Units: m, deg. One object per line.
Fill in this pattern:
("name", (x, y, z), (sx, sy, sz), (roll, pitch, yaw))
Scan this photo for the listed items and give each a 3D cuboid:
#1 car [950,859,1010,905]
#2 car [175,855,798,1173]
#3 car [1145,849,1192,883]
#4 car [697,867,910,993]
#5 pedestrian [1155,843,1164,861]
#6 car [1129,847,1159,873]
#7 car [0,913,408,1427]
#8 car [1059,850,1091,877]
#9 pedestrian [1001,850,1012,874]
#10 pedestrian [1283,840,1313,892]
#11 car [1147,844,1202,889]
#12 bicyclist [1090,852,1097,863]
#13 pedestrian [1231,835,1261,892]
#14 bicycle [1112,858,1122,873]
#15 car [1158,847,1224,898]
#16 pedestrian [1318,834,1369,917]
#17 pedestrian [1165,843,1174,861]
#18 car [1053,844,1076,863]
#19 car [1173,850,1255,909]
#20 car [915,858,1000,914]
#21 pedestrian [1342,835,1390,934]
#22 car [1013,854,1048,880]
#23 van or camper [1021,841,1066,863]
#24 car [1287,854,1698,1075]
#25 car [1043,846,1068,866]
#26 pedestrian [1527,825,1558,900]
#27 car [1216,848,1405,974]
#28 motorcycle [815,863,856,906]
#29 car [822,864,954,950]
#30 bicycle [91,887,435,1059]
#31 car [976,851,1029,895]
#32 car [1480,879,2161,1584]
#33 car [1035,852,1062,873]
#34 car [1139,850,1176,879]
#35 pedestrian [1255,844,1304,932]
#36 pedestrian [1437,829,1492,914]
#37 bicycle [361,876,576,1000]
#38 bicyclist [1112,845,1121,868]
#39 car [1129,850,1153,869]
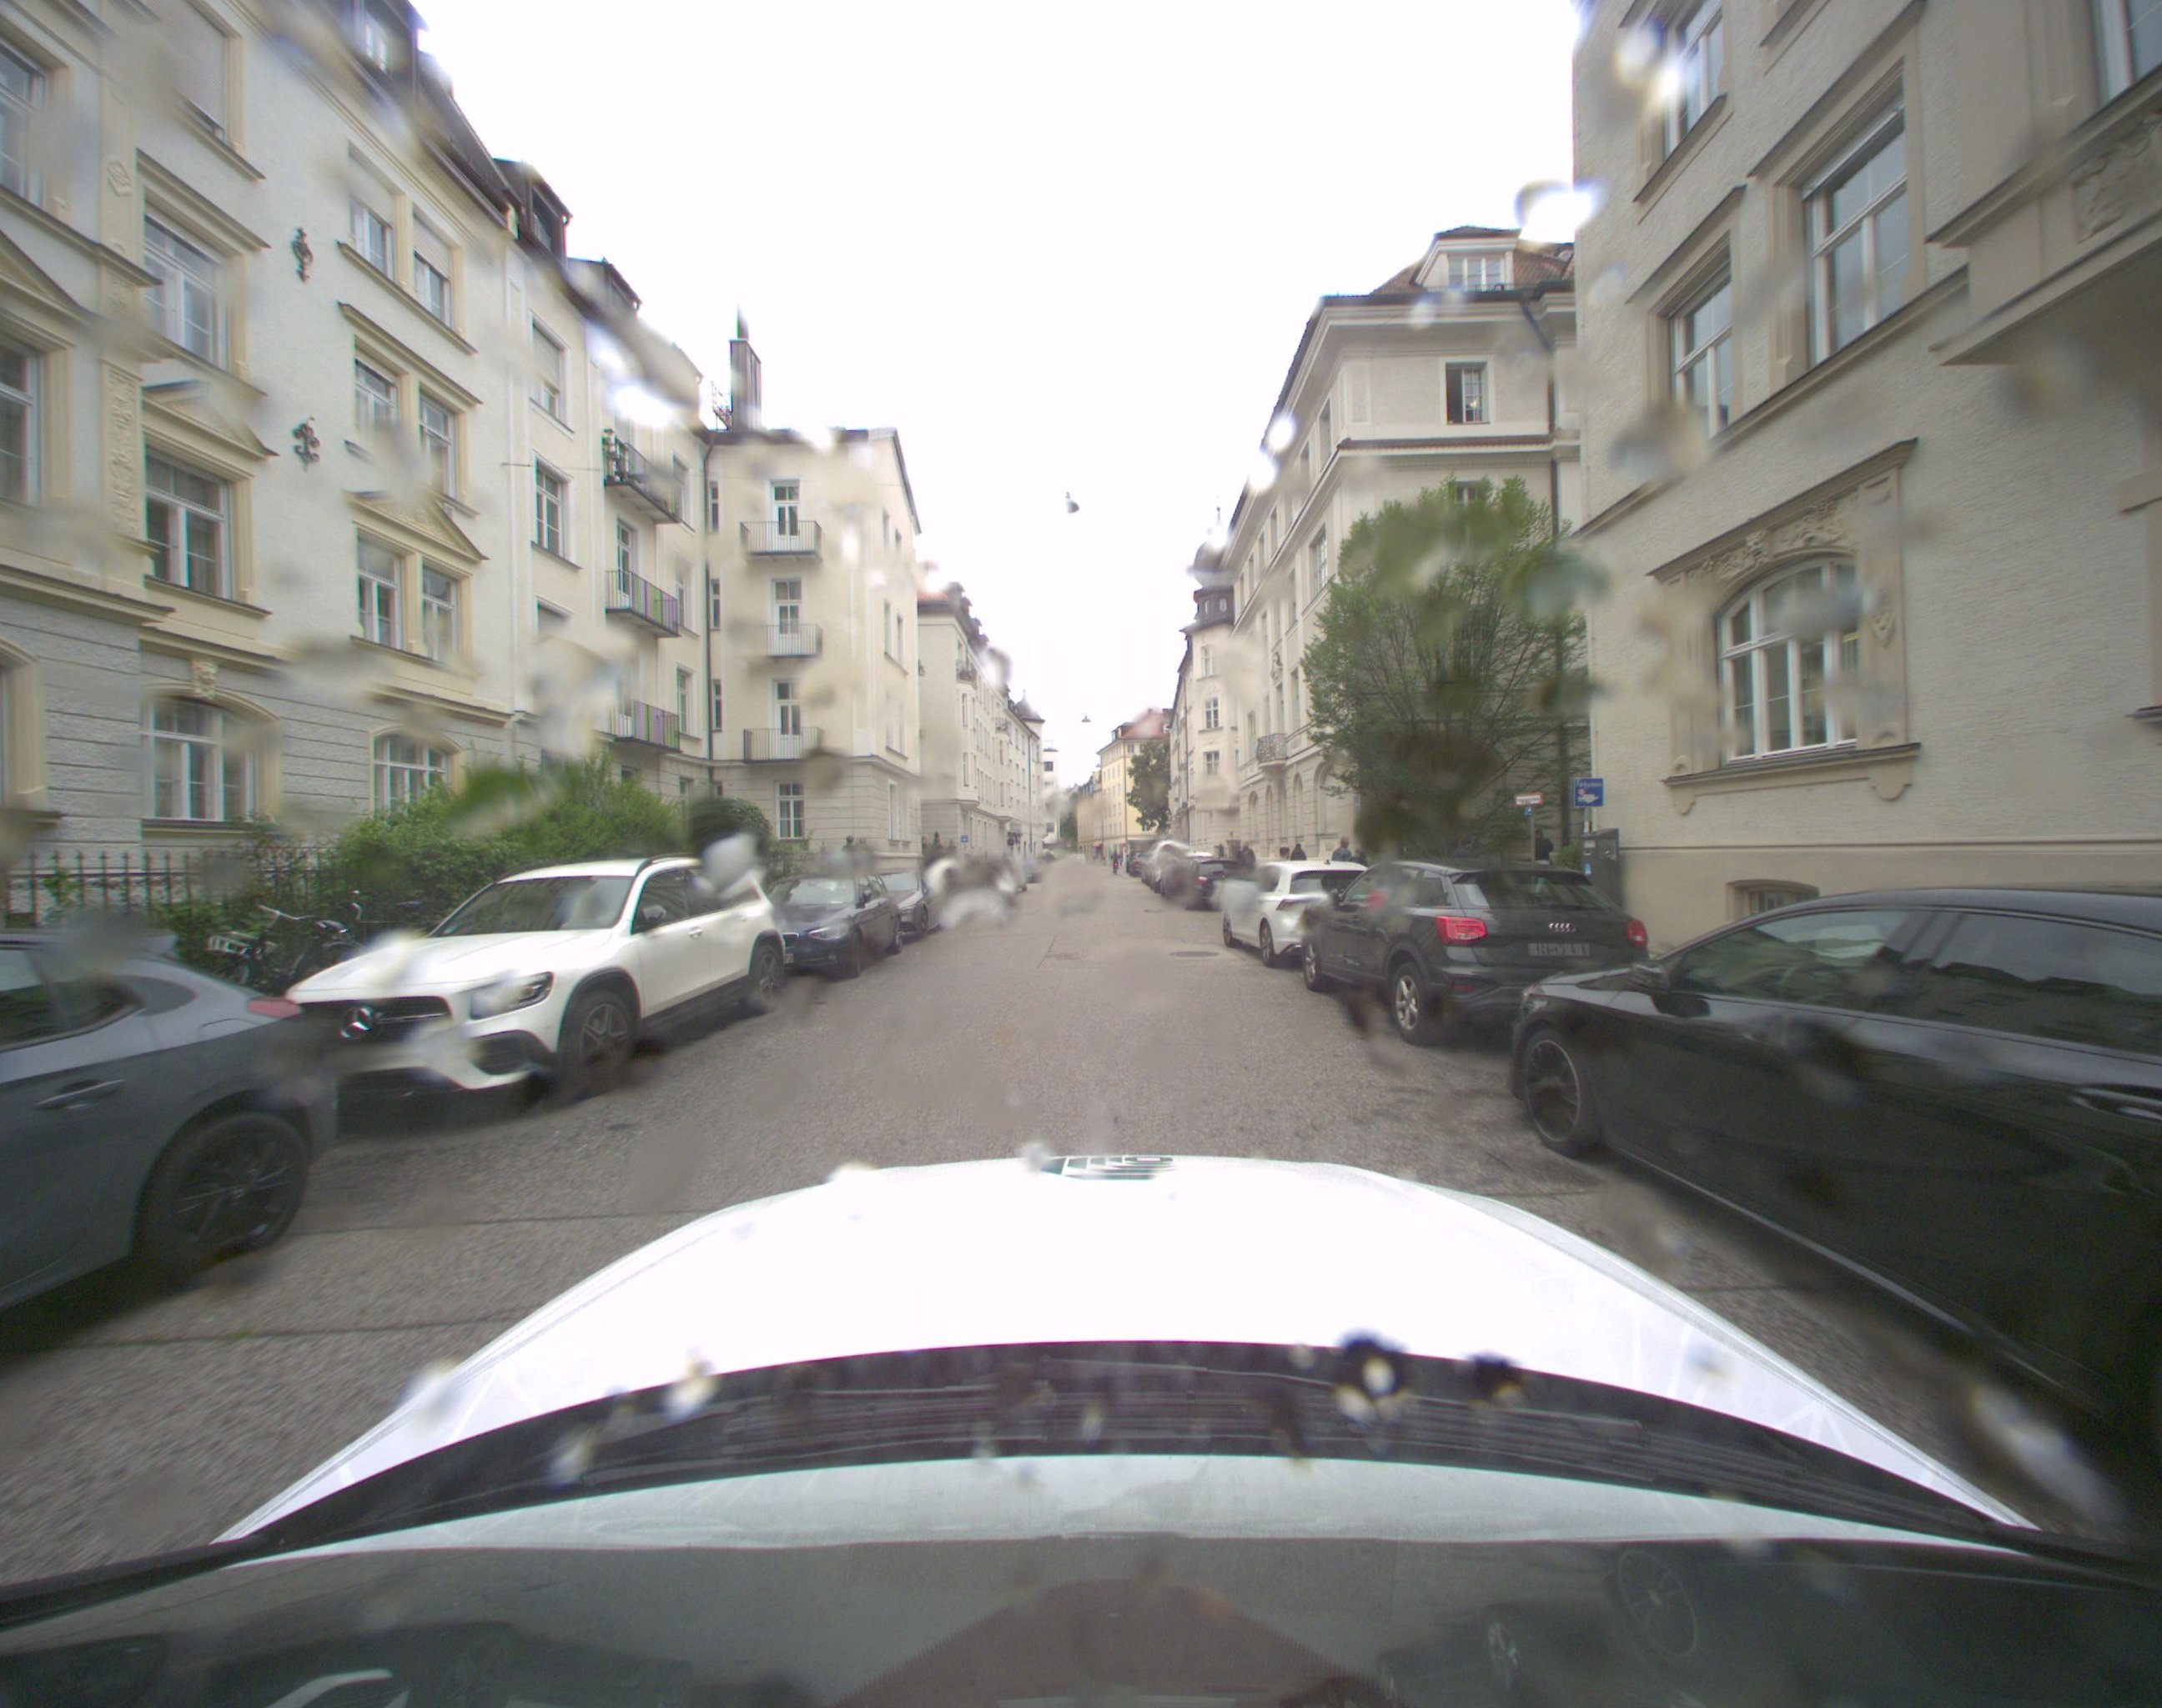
("car", (-3.590, 0.949, 29.523), (1.640, 1.403, 3.998), (-4, 0, -1))
("car", (-4.127, 0.905, 6.835), (1.800, 1.648, 4.486), (-3, 0, 1))
("car", (4.099, 0.523, 38.744), (1.703, 1.501, 3.998), (-1, 0, -1))
("car", (-3.787, 0.959, 11.883), (1.763, 1.420, 3.998), (-1, 0, -1))
("pedestrian", (7.590, -0.209, 78.618), (0.701, 1.728, 0.703), (-3, 0, -1))
("car", (4.182, 0.368, 54.407), (1.702, 1.587, 3.999), (0, 1, 0))
("car", (-4.111, 1.074, 1.932), (1.637, 1.430, 3.919), (-5, 0, 0))
("car", (-0.339, 0.591, 51.658), (1.718, 1.533, 4.087), (-4, 0, 2))
("pedestrian", (-5.519, 0.596, 60.294), (0.695, 1.707, 0.665), (-2, 0, -1))
("pedestrian", (7.307, 0.389, 27.462), (0.680, 1.679, 0.812), (-4, 1, 0))
("car", (3.760, 0.452, 33.318), (1.888, 1.636, 4.394), (-2, 1, 2))
("bicyclist", (1.901, 0.575, 121.135), (0.782, 1.637, 0.972), (-2, 0, -13))
("pedestrian", (5.358, 0.310, 26.455), (0.679, 1.775, 0.855), (-5, 1, 2))
("bicycle", (2.621, 0.818, 59.405), (0.636, 1.004, 1.577), (-2, 0, 6))
("car", (3.637, 0.556, 27.501), (1.742, 1.525, 4.172), (-1, 0, 2))
("pedestrian", (5.776, 0.453, 17.963), (0.879, 1.769, 0.672), (-2, 1, 0))
("pedestrian", (8.586, -0.230, 79.019), (0.677, 1.674, 0.654), (-4, 0, -1))
("car", (-1.593, -0.070, 80.062), (1.834, 1.757, 4.005), (-2, 0, 4))
("car", (3.673, 0.650, 23.118), (1.705, 1.451, 4.226), (-1, 1, 1))
("car", (-3.549, 0.882, 24.138), (1.791, 1.435, 4.080), (-2, 0, 1))
("pedestrian", (5.271, 0.551, 15.091), (0.625, 1.769, 0.672), (-2, 1, 0))
("car", (-2.959, 0.739, 48.553), (1.844, 1.367, 4.700), (-2, 0, -1))
("van or camper", (-5.028, -0.317, 109.587), (5.898, 2.677, 1.869), (-2, -2, -7))
("car", (3.458, 0.789, 7.844), (1.787, 1.498, 4.080), (1, 1, -2))
("car", (-1.976, 0.125, 65.123), (1.735, 1.486, 4.182), (-2, 0, 1))
("pedestrian", (11.174, 0.203, 19.712), (0.547, 1.794, 0.577), (-2, 0, 34))
("car", (3.254, 0.708, 12.366), (1.658, 1.507, 4.063), (-1, 1, -1))
("motorcycle", (-7.444, 0.906, 24.759), (0.702, 1.249, 1.821), (0, 0, 0))
("car", (-3.830, 0.982, 16.863), (1.730, 1.364, 4.190), (-4, 1, -1))
("bicycle", (-7.791, 1.038, 8.021), (0.693, 1.260, 2.531), (-3, 0, 2))
("car", (-3.306, 0.767, 35.034), (1.690, 1.580, 4.063), (-4, 1, 2))
("car", (3.173, 0.838, 2.836), (1.735, 1.398, 4.024), (0, 0, 2))
("car", (-2.357, 0.601, 59.796), (1.806, 1.385, 4.440), (-3, 0, -2))
("car", (4.029, 0.520, 43.228), (1.607, 1.395, 4.000), (-1, 0, 1))
("pedestrian", (3.848, 0.648, 15.791), (0.844, 1.657, 0.870), (-2, 0, 14))
("pedestrian", (8.409, 0.376, 17.891), (0.856, 1.817, 0.678), (-1, 1, 0))
("bicycle", (-7.855, 1.006, 10.668), (0.752, 1.297, 2.531), (-3, 0, 2))
("bicyclist", (2.598, 0.188, 59.427), (0.603, 1.606, 0.758), (-2, 1, 5))
("car", (4.402, 0.382, 60.045), (1.656, 1.395, 3.585), (0, 0, 3))
